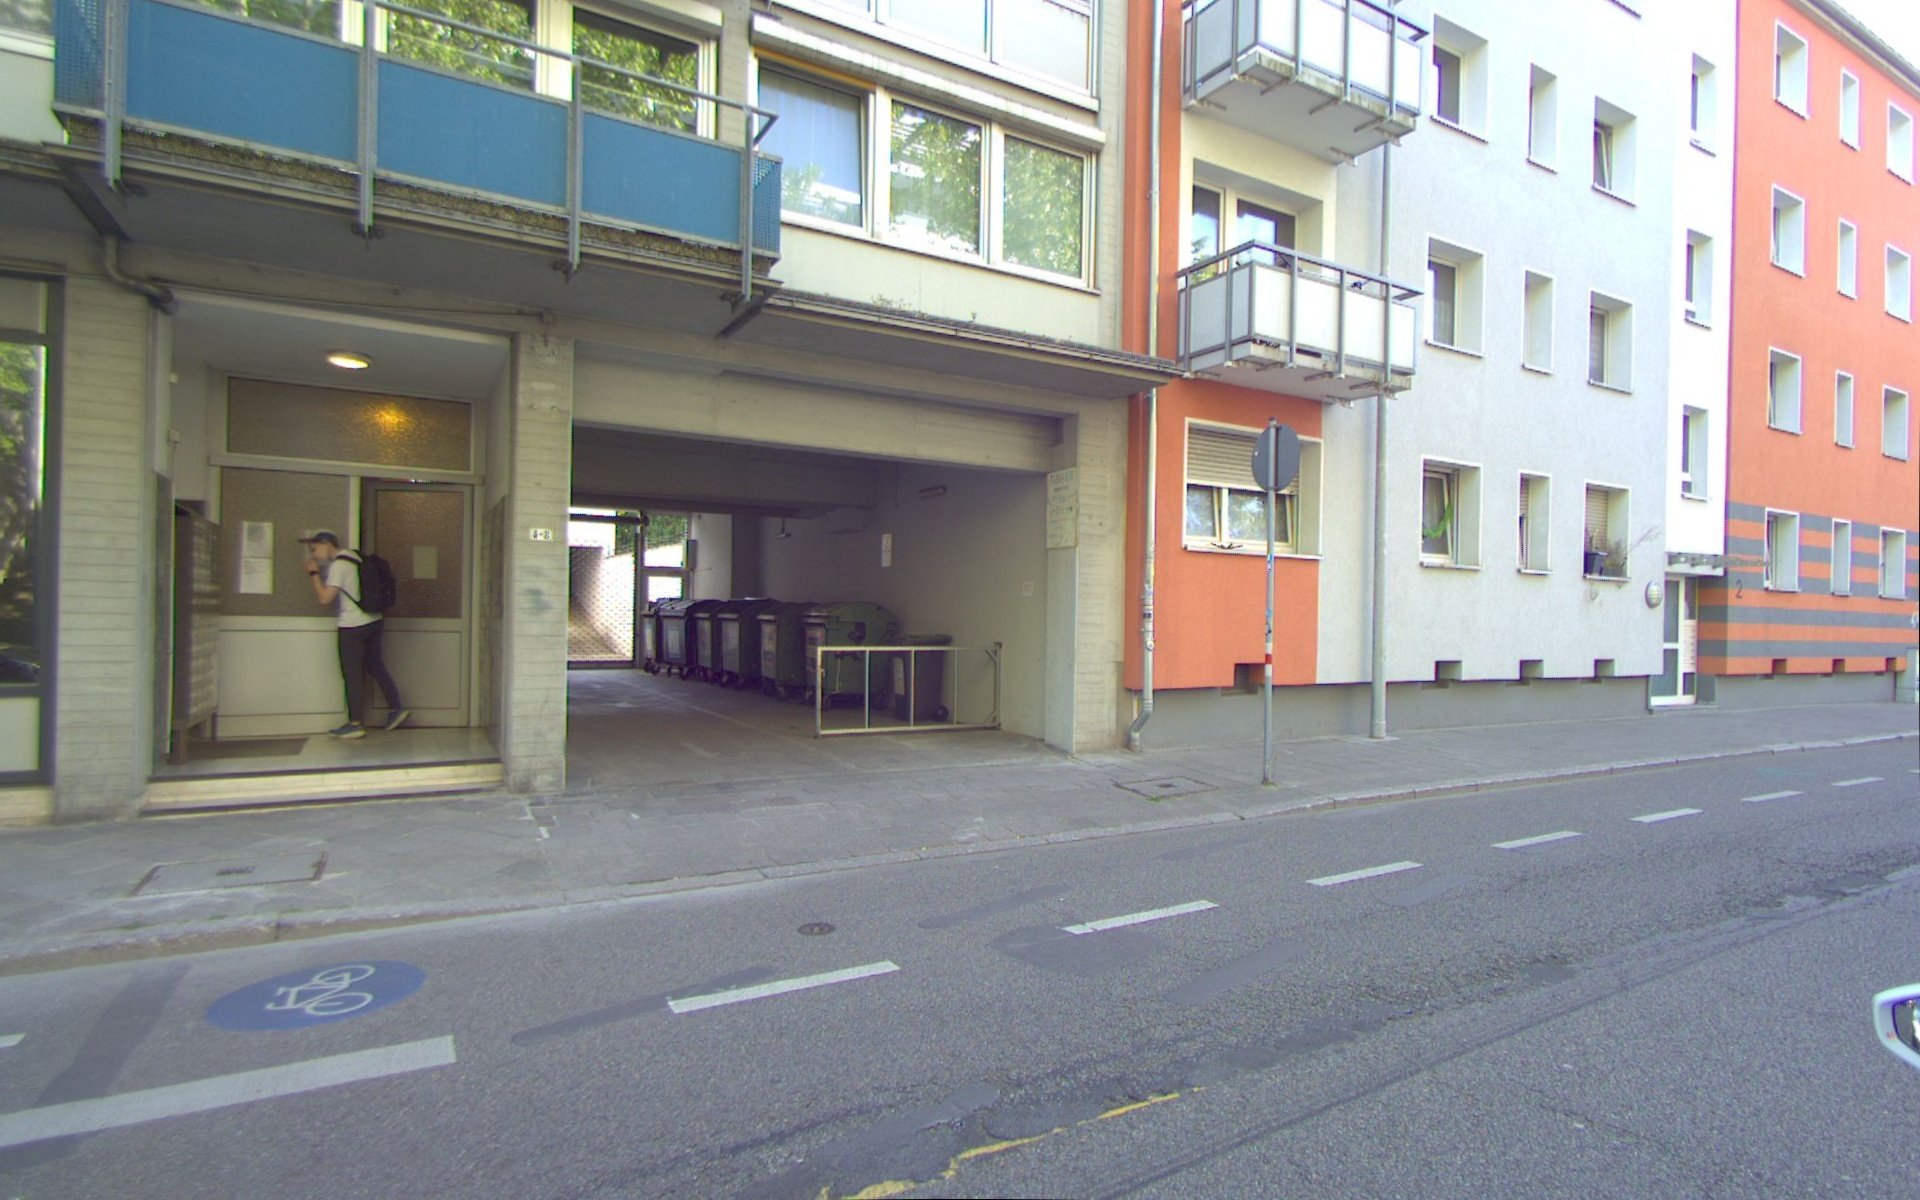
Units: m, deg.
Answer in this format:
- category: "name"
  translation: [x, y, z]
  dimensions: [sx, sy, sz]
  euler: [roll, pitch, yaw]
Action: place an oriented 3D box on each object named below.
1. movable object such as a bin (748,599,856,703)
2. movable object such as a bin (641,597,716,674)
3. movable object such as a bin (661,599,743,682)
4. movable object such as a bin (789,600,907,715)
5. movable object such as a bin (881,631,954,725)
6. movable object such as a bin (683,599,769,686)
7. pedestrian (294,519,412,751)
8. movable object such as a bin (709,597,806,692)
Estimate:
- category: "movable object such as a bin"
  translation: [-2.394, 0.734, 15.139]
  dimensions: [1.186, 1.467, 1.319]
  euler: [2, 0, -30]
- category: "movable object such as a bin"
  translation: [-5.607, 0.702, 19.985]
  dimensions: [1.186, 1.467, 1.027]
  euler: [2, 0, -30]
- category: "movable object such as a bin"
  translation: [-4.831, 0.736, 18.756]
  dimensions: [1.186, 1.467, 1.222]
  euler: [2, 0, -30]
- category: "movable object such as a bin"
  translation: [-1.554, 0.752, 13.805]
  dimensions: [1.159, 1.467, 1.319]
  euler: [2, 0, -30]
- category: "movable object such as a bin"
  translation: [-0.526, 0.952, 12.413]
  dimensions: [0.745, 1.116, 0.463]
  euler: [2, 0, -30]
- category: "movable object such as a bin"
  translation: [-4.131, 0.734, 17.713]
  dimensions: [1.186, 1.467, 1.114]
  euler: [2, 0, -30]
- category: "pedestrian"
  translation: [-5.229, 0.295, 8.692]
  dimensions: [0.776, 1.904, 0.578]
  euler: [2, 0, -26]
- category: "movable object such as a bin"
  translation: [-3.360, 0.713, 16.623]
  dimensions: [1.186, 1.467, 1.319]
  euler: [2, 0, -30]
